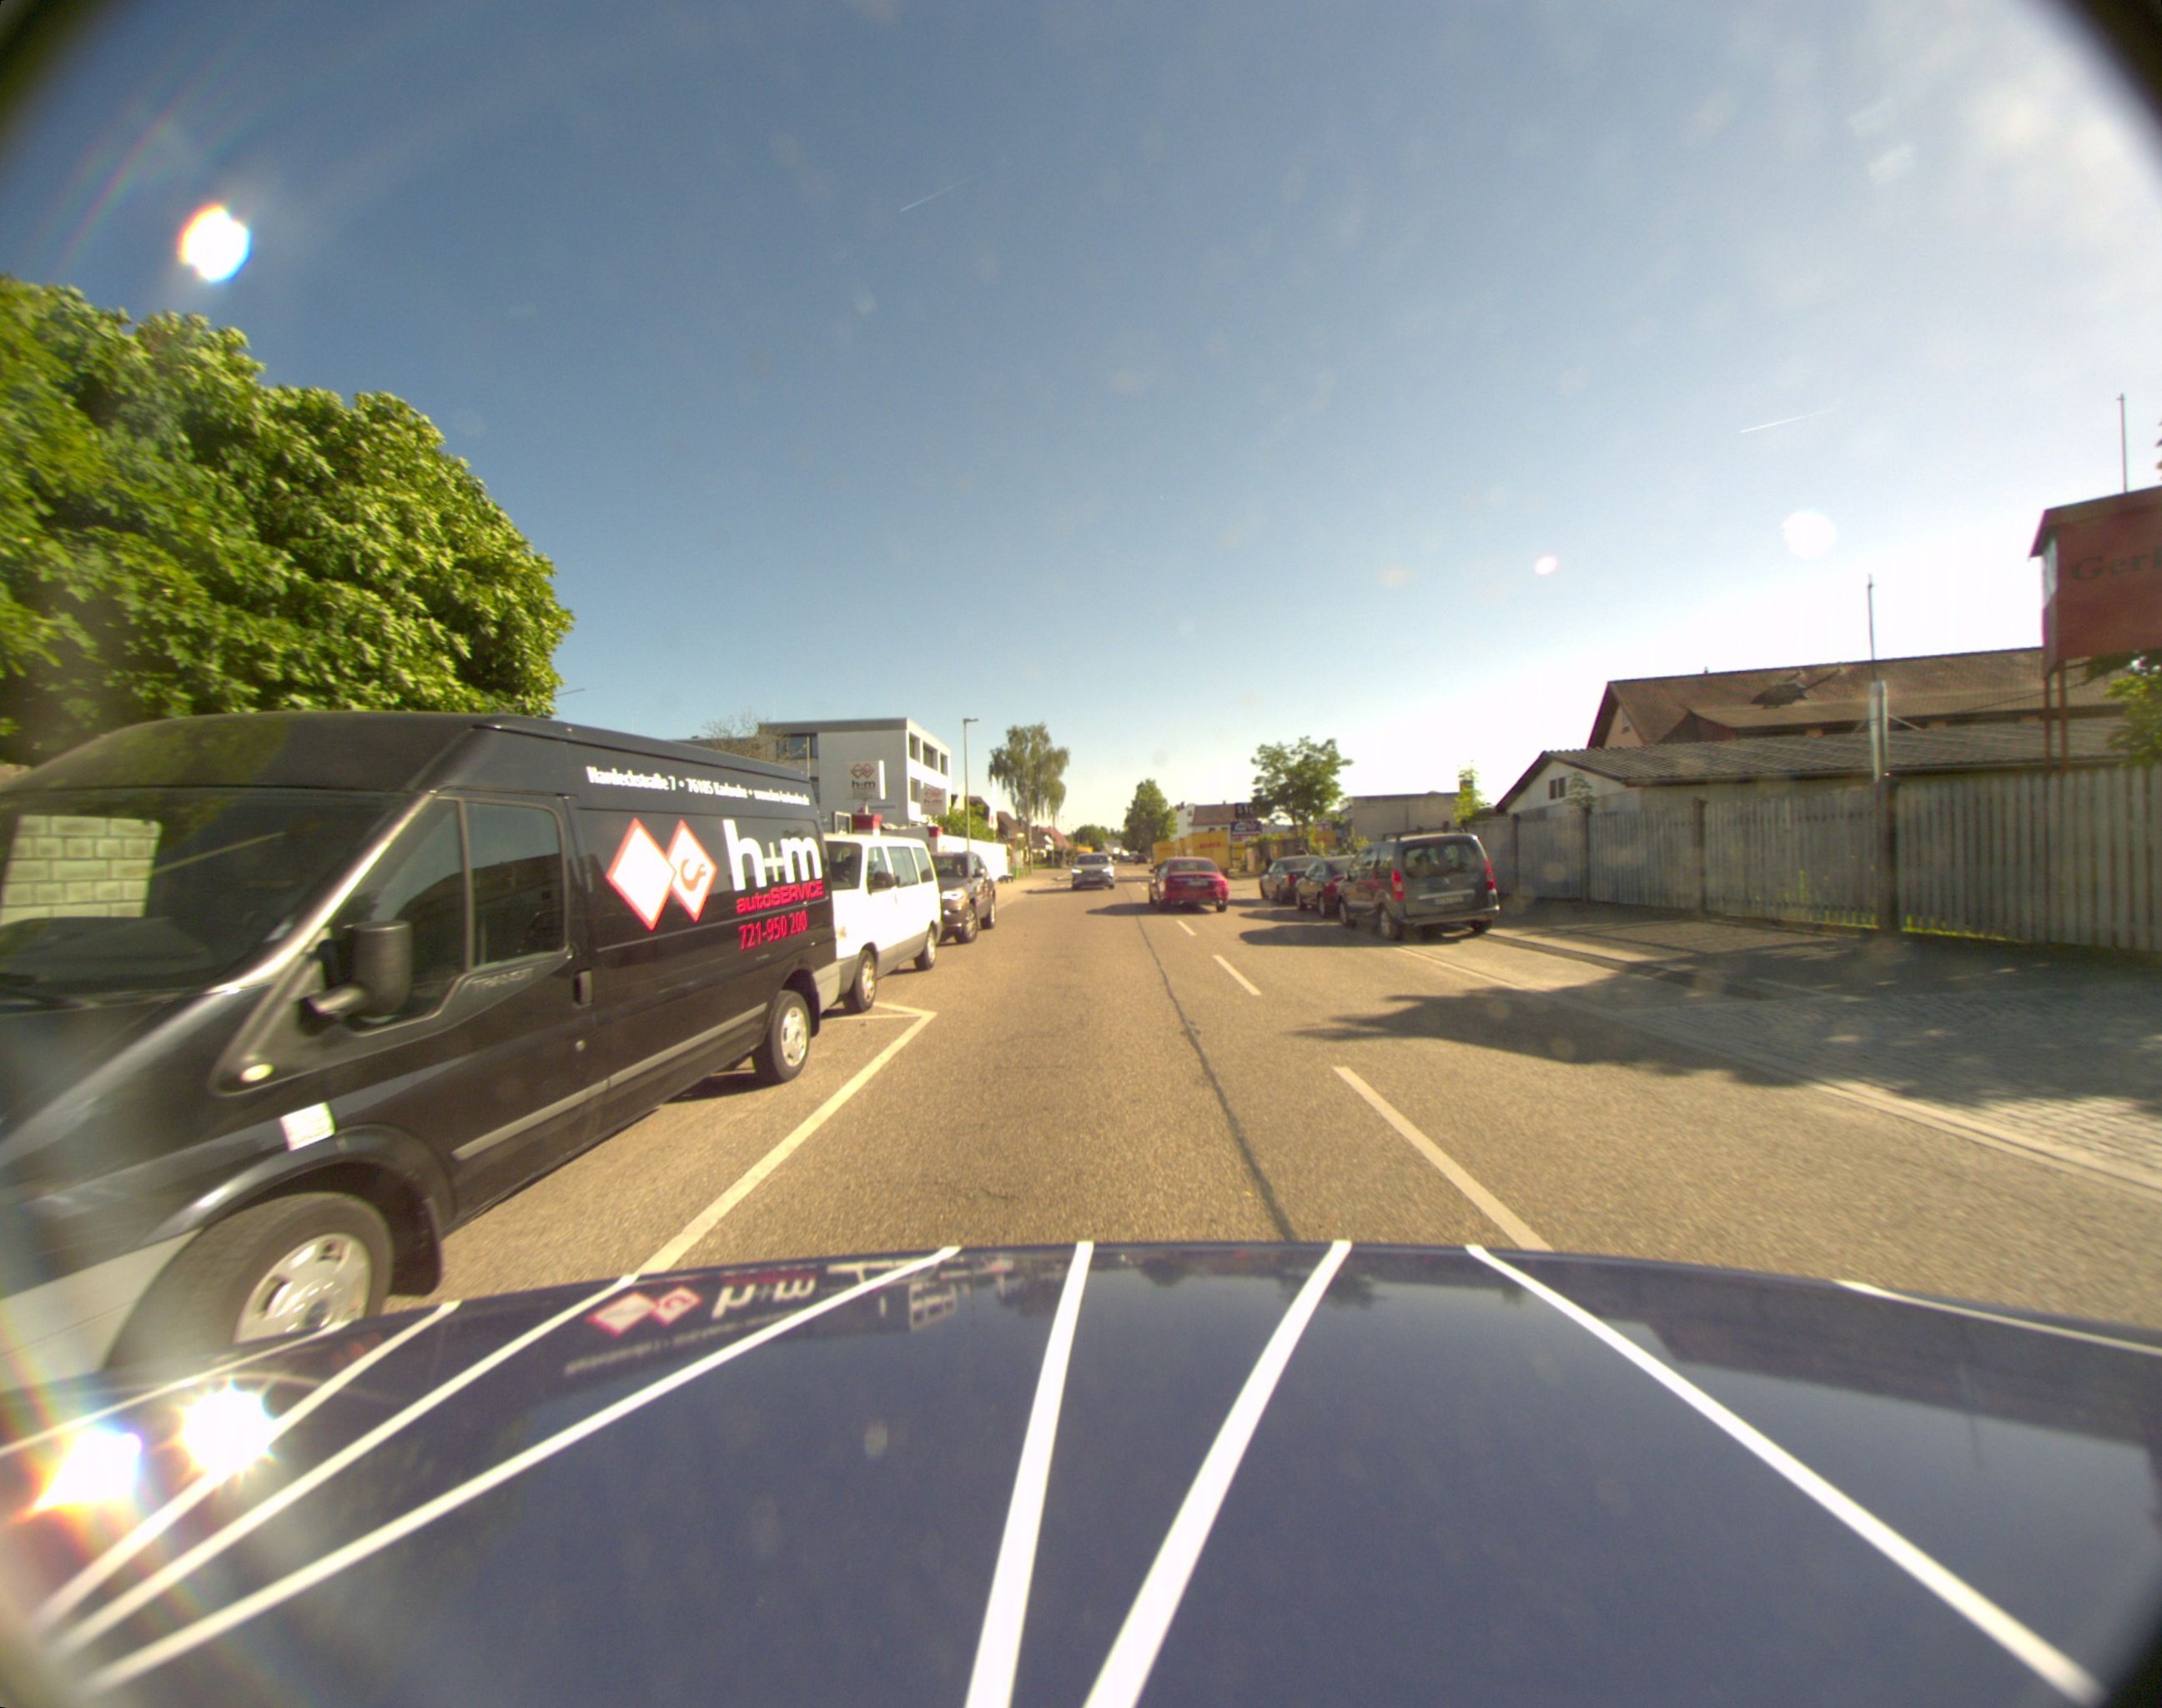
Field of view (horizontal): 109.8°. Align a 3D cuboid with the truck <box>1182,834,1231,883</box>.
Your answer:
[{"bbox_3d":[7.572,0.216,46.384,2.173,2.698,5.750,-3,1,2],"label":"truck"}]

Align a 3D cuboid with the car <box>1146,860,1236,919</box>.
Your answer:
[{"bbox_3d":[2.919,0.898,21.114,1.875,1.412,4.530,1,0,1],"label":"car"}]

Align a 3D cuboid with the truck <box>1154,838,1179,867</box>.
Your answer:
[{"bbox_3d":[9.423,-0.193,84.354,2.286,3.012,5.911,-2,1,2],"label":"truck"}]

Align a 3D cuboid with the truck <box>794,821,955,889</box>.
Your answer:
[{"bbox_3d":[-8.803,0.049,32.765,6.237,2.800,2.381,0,0,5],"label":"truck"}]

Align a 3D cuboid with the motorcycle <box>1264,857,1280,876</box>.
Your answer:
[{"bbox_3d":[10.908,0.710,43.500,0.537,1.051,2.071,-3,0,5],"label":"motorcycle"}]

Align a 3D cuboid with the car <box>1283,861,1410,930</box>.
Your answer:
[{"bbox_3d":[6.677,0.966,19.667,1.780,1.439,4.616,-3,0,2],"label":"car"}]

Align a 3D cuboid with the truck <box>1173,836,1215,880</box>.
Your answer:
[{"bbox_3d":[7.850,0.261,53.221,2.144,2.857,5.750,-3,0,2],"label":"truck"}]

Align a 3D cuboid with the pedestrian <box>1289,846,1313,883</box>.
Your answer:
[{"bbox_3d":[10.545,0.485,36.380,0.820,1.733,0.751,-3,1,-5],"label":"pedestrian"}]

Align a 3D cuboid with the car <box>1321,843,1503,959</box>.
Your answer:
[{"bbox_3d":[6.169,0.776,14.808,1.779,1.838,4.616,-3,0,5],"label":"car"}]

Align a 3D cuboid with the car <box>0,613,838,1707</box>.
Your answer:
[{"bbox_3d":[-3.039,0.645,3.645,1.896,2.246,5.146,0,0,2],"label":"car"}]

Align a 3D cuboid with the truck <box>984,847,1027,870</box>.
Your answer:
[{"bbox_3d":[-8.346,0.501,84.074,4.393,2.451,1.996,-1,0,-23],"label":"truck"}]

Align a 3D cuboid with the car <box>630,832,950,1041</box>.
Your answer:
[{"bbox_3d":[-3.093,0.764,9.426,1.896,1.914,4.922,0,0,2],"label":"car"}]

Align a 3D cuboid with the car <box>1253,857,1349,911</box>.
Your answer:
[{"bbox_3d":[6.891,0.869,24.338,1.780,1.439,4.924,-3,0,2],"label":"car"}]

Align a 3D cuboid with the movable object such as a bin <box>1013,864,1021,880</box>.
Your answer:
[{"bbox_3d":[-3.772,1.068,44.733,0.383,0.950,0.567,0,0,5],"label":"movable object such as a bin"}]

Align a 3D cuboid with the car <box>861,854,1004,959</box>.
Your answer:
[{"bbox_3d":[-2.863,0.923,15.827,1.806,1.733,4.912,-3,1,1],"label":"car"}]

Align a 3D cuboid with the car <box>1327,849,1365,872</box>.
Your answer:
[{"bbox_3d":[18.136,0.426,52.179,1.851,1.435,4.002,1,1,10],"label":"car"}]

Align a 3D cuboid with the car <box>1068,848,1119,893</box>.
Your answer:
[{"bbox_3d":[0.582,0.690,32.986,1.998,1.750,5.016,-2,0,1],"label":"car"}]
